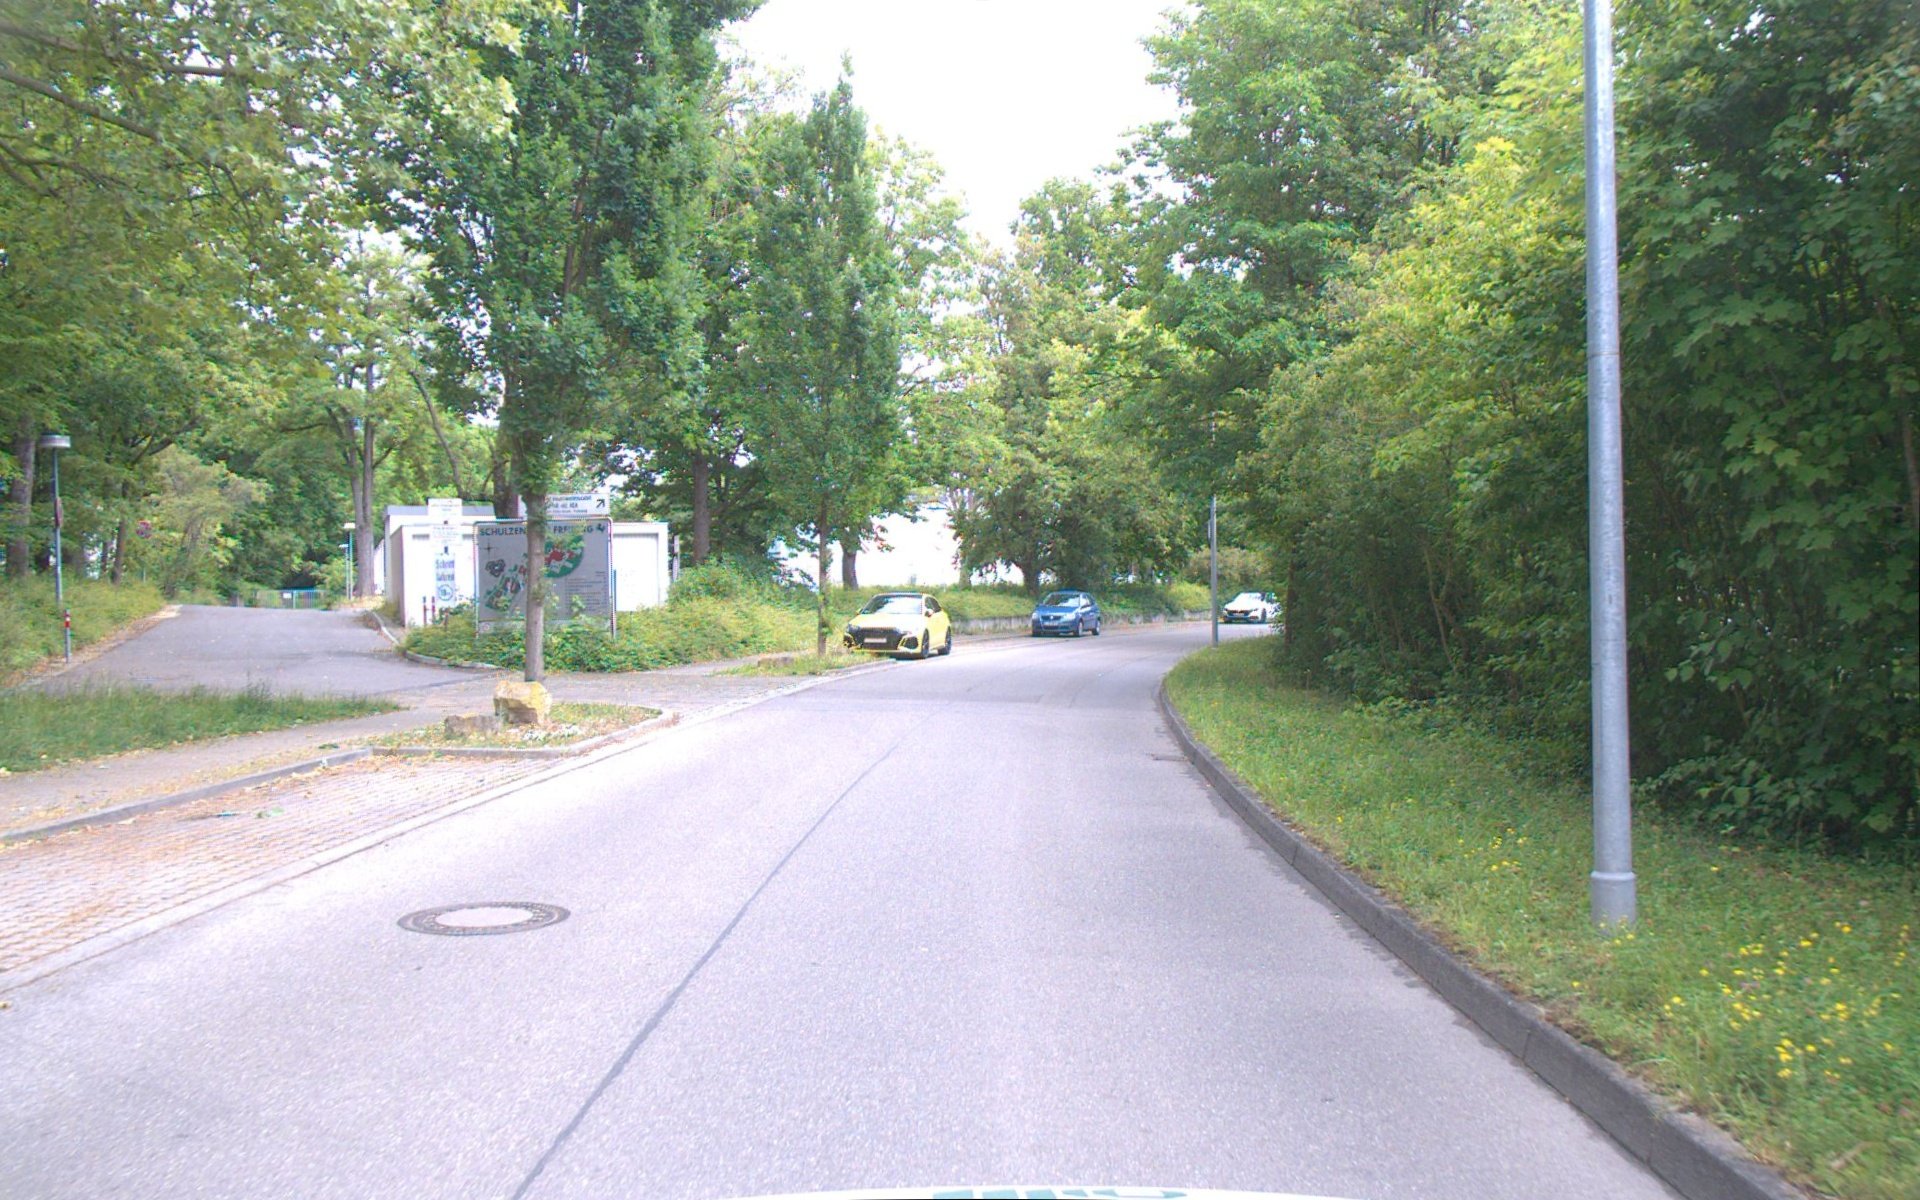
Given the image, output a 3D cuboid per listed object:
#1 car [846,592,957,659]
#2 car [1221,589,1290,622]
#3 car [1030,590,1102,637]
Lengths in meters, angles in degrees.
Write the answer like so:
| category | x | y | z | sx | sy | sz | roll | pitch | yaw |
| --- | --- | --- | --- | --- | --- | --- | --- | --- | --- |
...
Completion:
| category | x | y | z | sx | sy | sz | roll | pitch | yaw |
| --- | --- | --- | --- | --- | --- | --- | --- | --- | --- |
| car | -1.262 | 0.557 | 37.629 | 1.664 | 1.427 | 4.277 | 0 | 0 | 10 |
| car | 13.511 | 0.218 | 75.474 | 1.780 | 1.449 | 4.353 | 1 | 1 | 29 |
| car | 3.543 | 0.428 | 54.856 | 1.501 | 1.484 | 3.722 | 0 | 0 | 18 |
